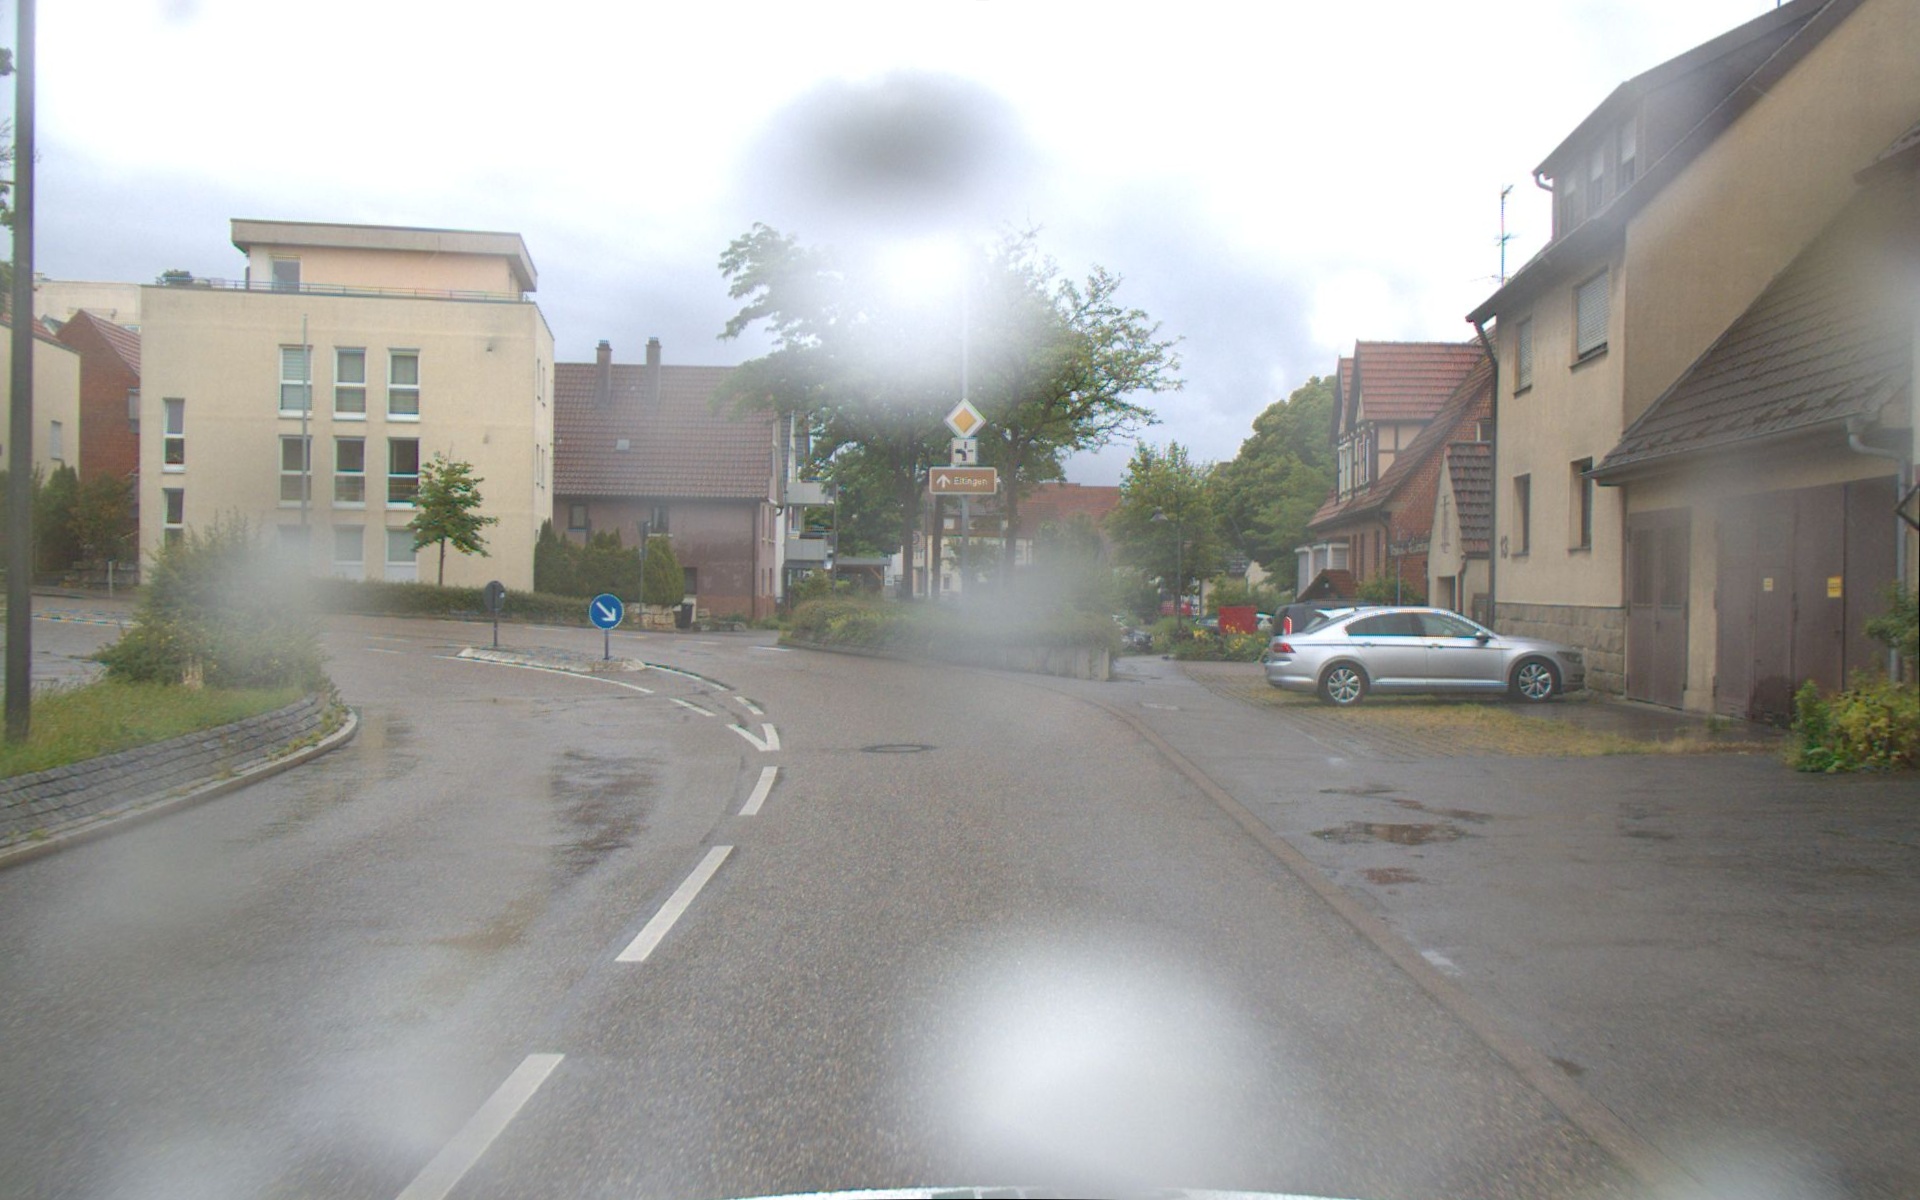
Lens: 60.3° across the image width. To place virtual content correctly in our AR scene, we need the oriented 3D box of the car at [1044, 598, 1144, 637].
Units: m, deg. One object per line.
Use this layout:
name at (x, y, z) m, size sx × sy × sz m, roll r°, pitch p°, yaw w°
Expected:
car at (5.039, 0.640, 61.987) m, size 3.688 × 1.361 × 1.715 m, roll 1°, pitch 0°, yaw 6°

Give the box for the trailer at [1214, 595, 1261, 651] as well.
trailer at (8.901, 0.729, 52.984) m, size 1.378 × 1.678 × 2.727 m, roll 3°, pitch 0°, yaw 10°

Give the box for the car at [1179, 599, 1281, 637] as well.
car at (12.990, 0.868, 79.555) m, size 4.381 × 1.579 × 1.998 m, roll 3°, pitch 0°, yaw 26°

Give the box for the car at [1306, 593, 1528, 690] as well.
car at (7.713, 0.735, 28.141) m, size 3.348 × 1.557 × 1.719 m, roll 0°, pitch -4°, yaw 4°

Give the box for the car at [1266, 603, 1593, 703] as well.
car at (6.983, 0.766, 25.006) m, size 4.515 × 1.440 × 1.822 m, roll 0°, pitch 0°, yaw 5°

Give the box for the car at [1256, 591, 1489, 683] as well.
car at (7.677, 0.690, 31.039) m, size 3.906 × 1.610 × 1.748 m, roll -1°, pitch -1°, yaw -1°
